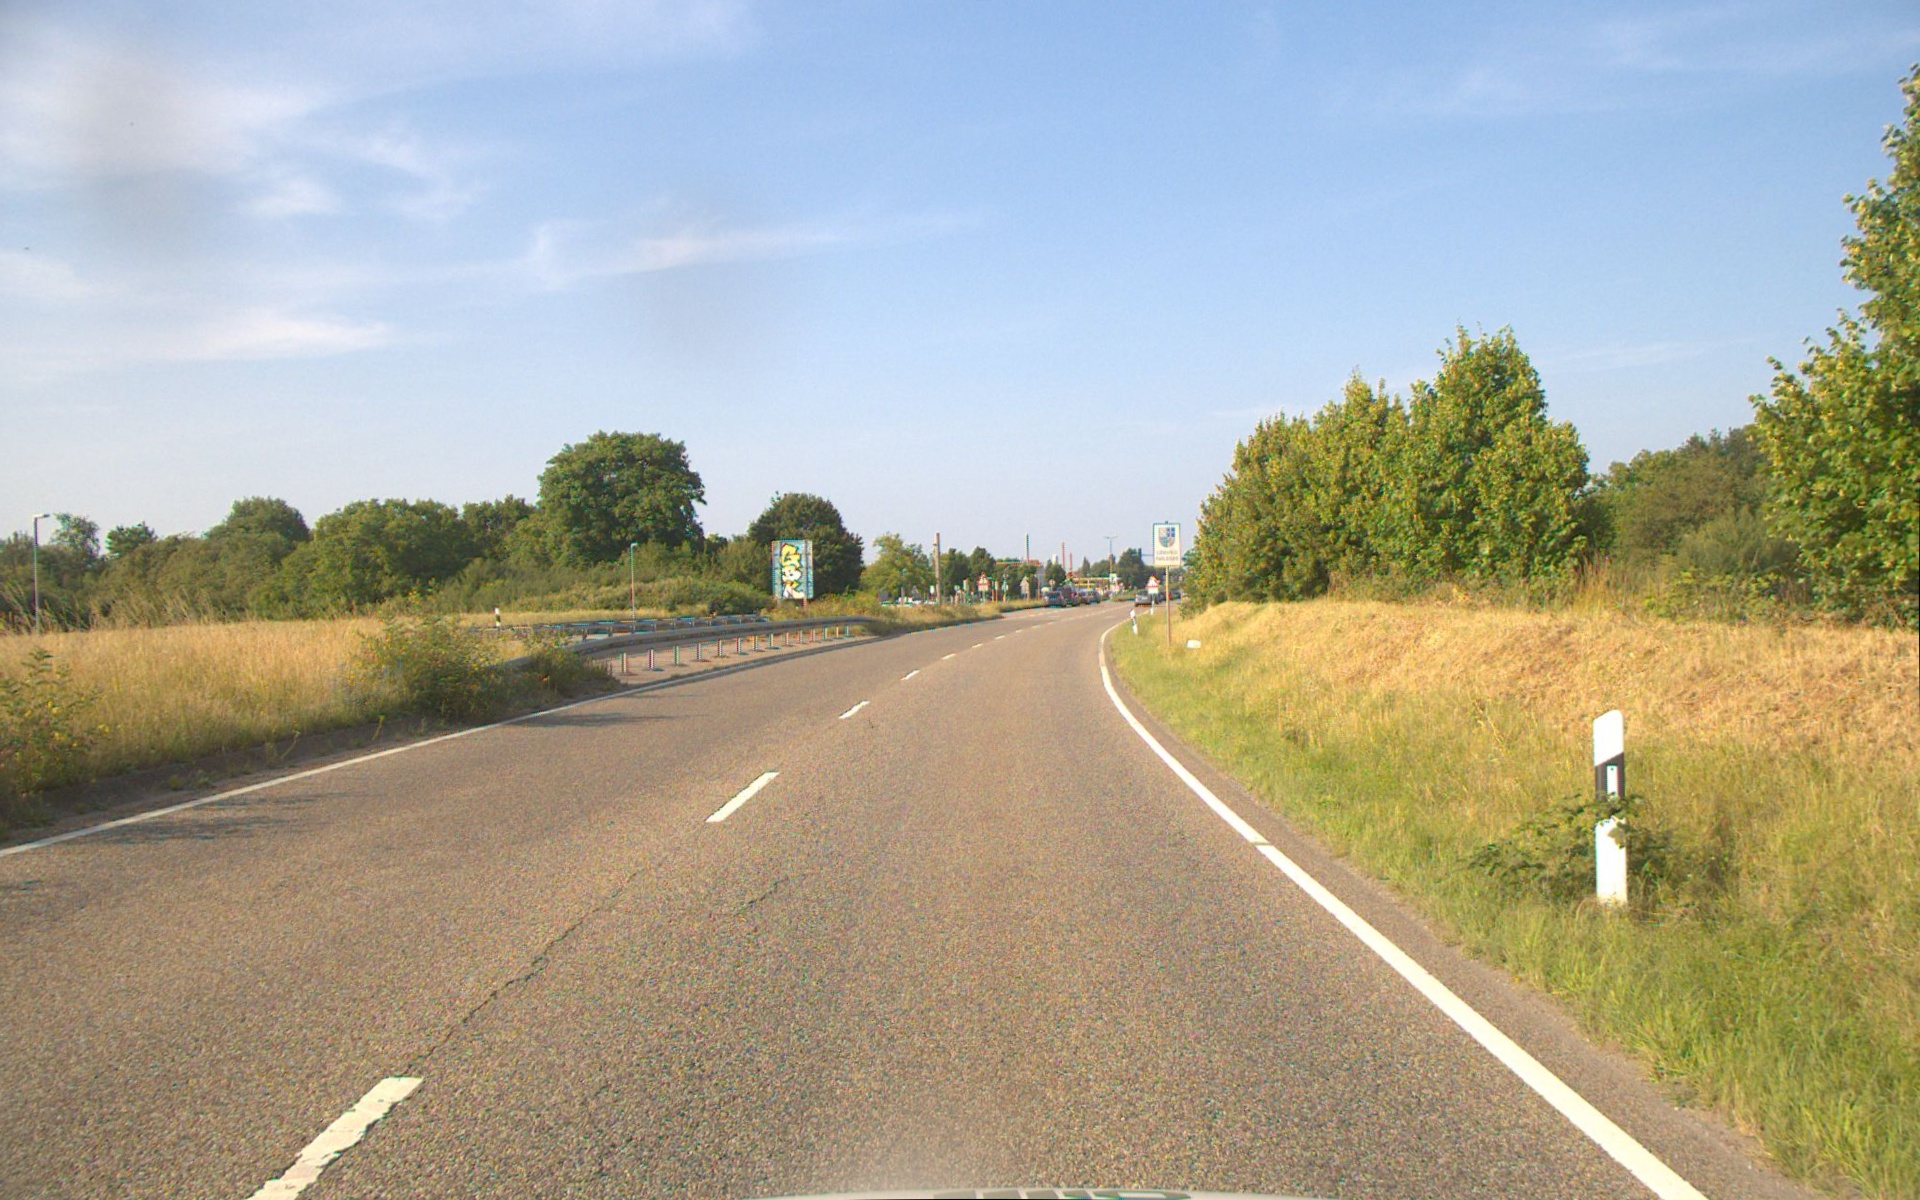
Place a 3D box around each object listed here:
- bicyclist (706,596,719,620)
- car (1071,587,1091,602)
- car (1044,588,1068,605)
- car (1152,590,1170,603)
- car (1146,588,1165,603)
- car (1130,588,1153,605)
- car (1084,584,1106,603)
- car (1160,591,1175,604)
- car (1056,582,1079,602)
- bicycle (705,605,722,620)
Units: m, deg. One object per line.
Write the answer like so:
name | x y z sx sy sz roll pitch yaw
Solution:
bicyclist | -15.300 0.489 102.270 0.457 1.414 1.048 -1 0 8
car | 12.841 -0.627 175.283 1.732 1.497 4.019 -1 0 9
car | 8.755 -0.316 151.096 1.695 1.481 4.524 -1 0 9
car | 24.282 -0.421 199.401 1.951 1.579 4.004 -1 0 9
car | 21.236 -0.474 179.529 1.951 1.579 4.004 -1 0 9
car | 17.127 -0.364 156.146 1.951 1.579 4.004 -1 0 9
car | 15.719 -0.728 192.819 1.951 2.049 4.840 -1 -2 11
car | 28.562 -0.378 227.682 1.951 1.624 4.003 -2 0 8
car | 10.246 -0.791 157.817 1.695 1.888 4.524 -1 0 9
bicycle | -15.248 0.758 102.289 0.518 0.893 1.706 -1 0 8
